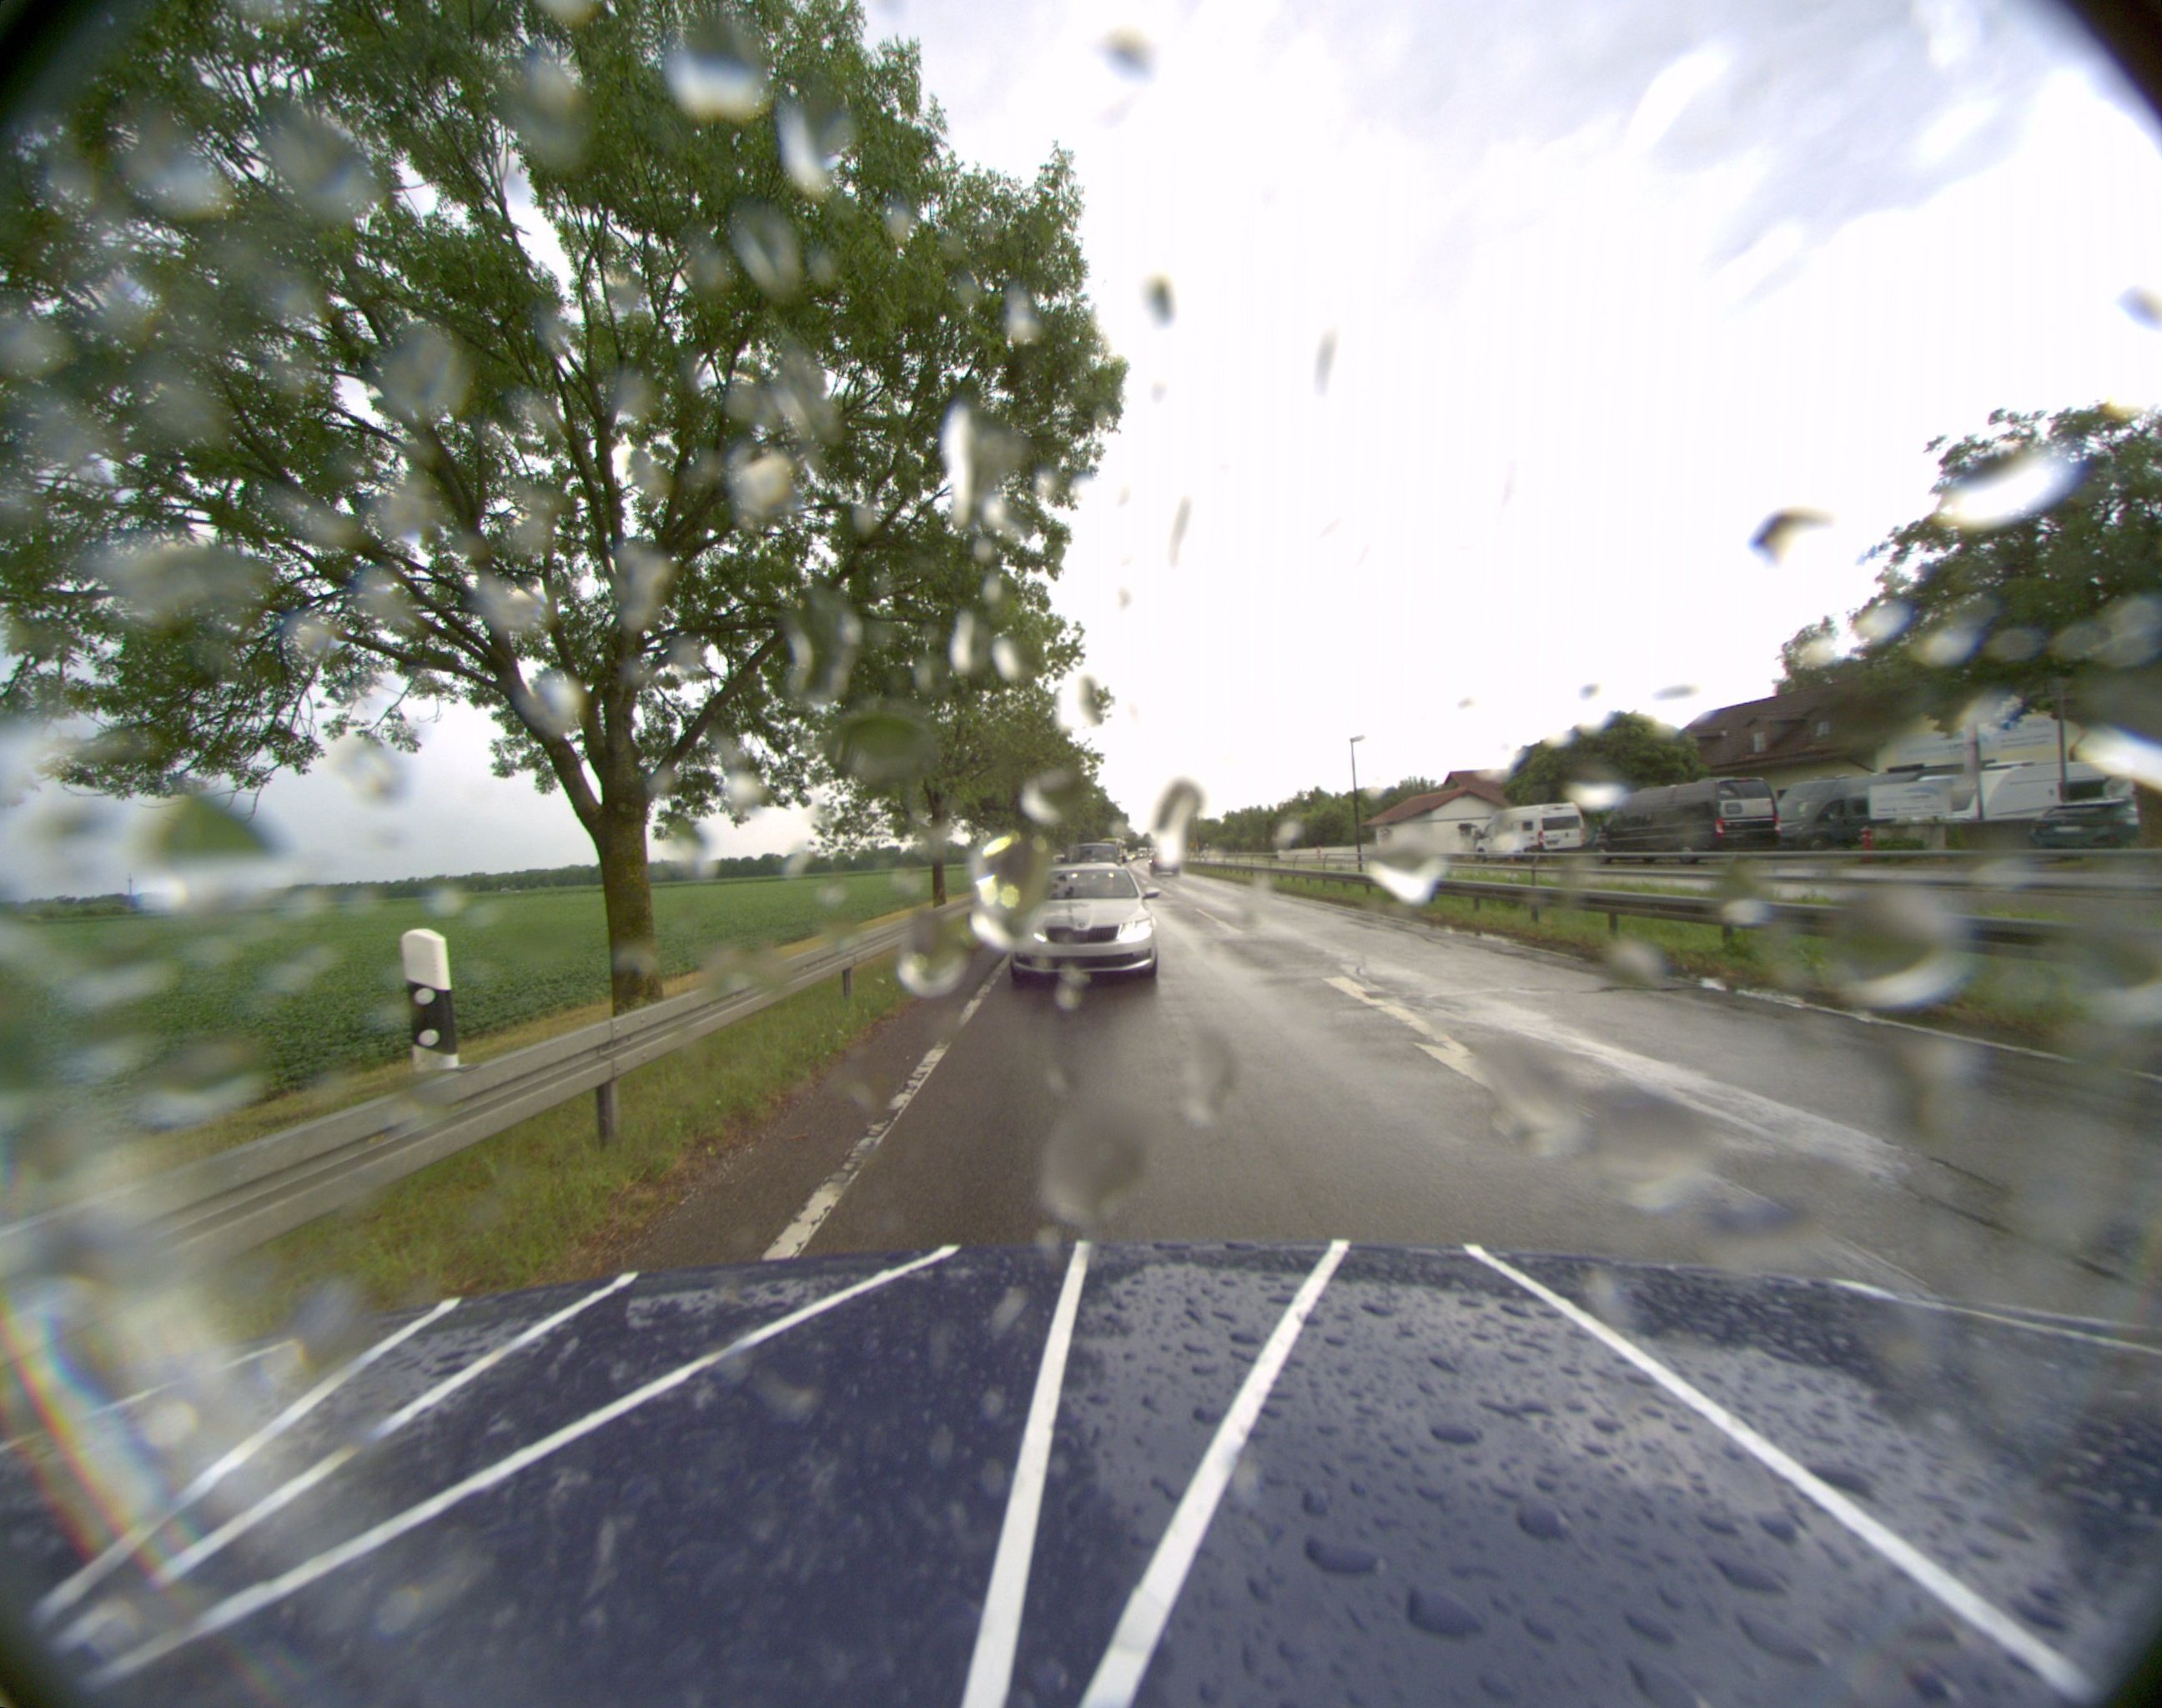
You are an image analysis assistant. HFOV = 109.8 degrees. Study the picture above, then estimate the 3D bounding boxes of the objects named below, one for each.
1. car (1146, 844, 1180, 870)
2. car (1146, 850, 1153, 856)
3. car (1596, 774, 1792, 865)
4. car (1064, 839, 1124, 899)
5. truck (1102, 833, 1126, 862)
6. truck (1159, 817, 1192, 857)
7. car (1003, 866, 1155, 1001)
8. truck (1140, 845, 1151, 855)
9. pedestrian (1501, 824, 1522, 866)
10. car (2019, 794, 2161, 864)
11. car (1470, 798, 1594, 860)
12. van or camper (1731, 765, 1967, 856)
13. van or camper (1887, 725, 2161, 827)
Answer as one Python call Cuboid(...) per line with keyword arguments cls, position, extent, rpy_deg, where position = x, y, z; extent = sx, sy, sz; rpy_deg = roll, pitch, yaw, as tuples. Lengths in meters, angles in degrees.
Cuboid(cls="car", position=(5.443, 0.211, 50.806), extent=(1.768, 1.610, 4.000), rpy_deg=(-2, 0, 0))
Cuboid(cls="car", position=(21.359, -0.344, 238.192), extent=(1.812, 1.723, 4.026), rpy_deg=(-4, 0, 0))
Cuboid(cls="car", position=(21.387, -1.106, 26.945), extent=(2.389, 2.747, 5.573), rpy_deg=(-4, 0, 1))
Cuboid(cls="car", position=(0.430, 0.480, 26.269), extent=(1.903, 1.884, 4.000), rpy_deg=(-1, 0, 0))
Cuboid(cls="truck", position=(4.331, -0.880, 100.365), extent=(2.751, 3.547, 8.387), rpy_deg=(-3, 0, 2))
Cuboid(cls="truck", position=(13.143, -2.247, 106.394), extent=(3.257, 5.003, 7.785), rpy_deg=(-4, -1, 0))
Cuboid(cls="car", position=(-0.012, 0.935, 10.681), extent=(1.705, 1.438, 4.000), rpy_deg=(-1, 0, 0))
Cuboid(cls="truck", position=(18.240, -1.195, 213.701), extent=(2.800, 2.461, 7.169), rpy_deg=(-3, 0, 4))
Cuboid(cls="pedestrian", position=(18.229, -0.379, 32.189), extent=(0.516, 1.701, 0.650), rpy_deg=(-3, 1, 9))
Cuboid(cls="car", position=(25.262, -0.642, 18.071), extent=(3.894, 1.487, 1.540), rpy_deg=(-4, 0, 1))
Cuboid(cls="car", position=(21.164, -1.111, 36.065), extent=(2.243, 2.565, 6.019), rpy_deg=(-4, 0, 1))
Cuboid(cls="van or camper", position=(27.824, -1.508, 27.695), extent=(6.068, 2.785, 2.434), rpy_deg=(-4, 0, -1))
Cuboid(cls="van or camper", position=(29.443, -2.353, 23.491), extent=(6.239, 2.576, 2.562), rpy_deg=(-4, 0, -1))
